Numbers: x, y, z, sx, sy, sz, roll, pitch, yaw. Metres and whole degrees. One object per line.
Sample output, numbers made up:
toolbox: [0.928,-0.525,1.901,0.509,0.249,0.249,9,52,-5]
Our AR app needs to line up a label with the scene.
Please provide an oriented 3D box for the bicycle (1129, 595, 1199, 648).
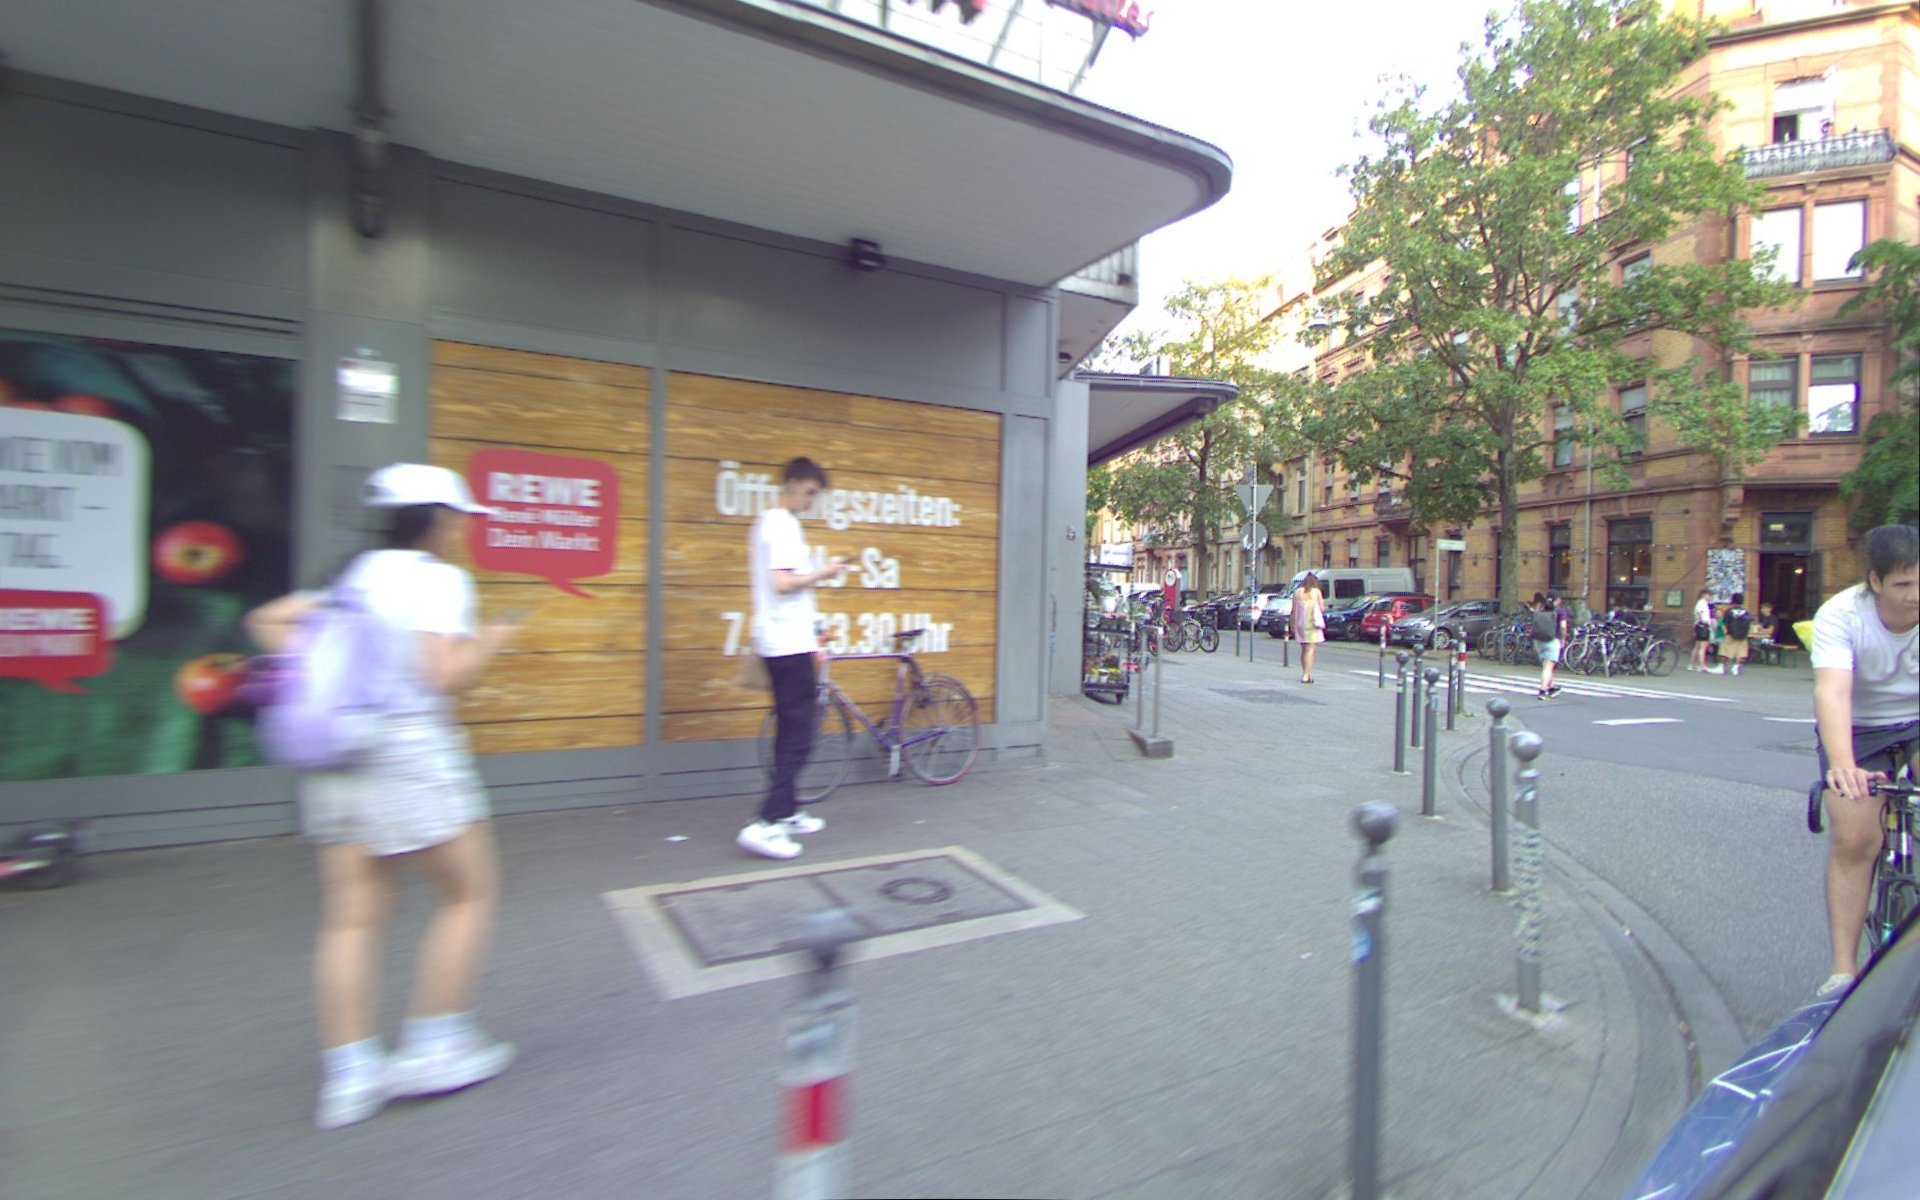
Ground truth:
bicycle: [4.658,0.480,23.248,0.558,1.095,1.787,2,2,-25]

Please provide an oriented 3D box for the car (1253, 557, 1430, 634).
car: [13.292,-0.177,35.415,5.377,2.487,2.124,-1,1,-8]

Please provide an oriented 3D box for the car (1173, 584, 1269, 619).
car: [12.140,0.041,47.174,3.893,1.556,1.855,0,1,-11]

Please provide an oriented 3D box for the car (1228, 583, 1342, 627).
car: [12.855,0.171,40.107,3.896,1.683,1.766,0,1,-5]

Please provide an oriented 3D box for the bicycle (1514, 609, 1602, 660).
bicycle: [13.632,0.772,23.066,1.845,1.091,0.714,-1,1,-20]

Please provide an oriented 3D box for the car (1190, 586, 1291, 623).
car: [12.369,0.167,44.709,3.893,1.556,1.855,0,1,-11]

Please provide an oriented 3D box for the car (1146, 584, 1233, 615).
car: [11.678,-0.044,51.602,3.893,1.556,1.855,0,1,-11]

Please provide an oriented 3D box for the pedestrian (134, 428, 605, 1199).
pedestrian: [-1.538,0.447,2.680,0.660,1.671,0.872,5,3,36]

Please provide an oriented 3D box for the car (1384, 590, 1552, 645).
car: [14.149,0.463,28.296,3.896,1.438,1.630,0,1,-5]

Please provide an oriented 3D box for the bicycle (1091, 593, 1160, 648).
bicycle: [3.661,0.431,22.558,0.558,1.095,1.787,2,2,-25]

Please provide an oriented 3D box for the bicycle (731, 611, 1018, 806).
bicycle: [-0.488,0.604,6.219,1.748,1.037,0.458,0,1,-32]

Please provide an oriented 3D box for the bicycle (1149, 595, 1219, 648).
bicycle: [5.186,0.487,23.518,0.558,1.095,1.787,2,2,-25]

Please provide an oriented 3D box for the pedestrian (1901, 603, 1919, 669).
pedestrian: [19.381,0.715,20.269,0.670,1.288,0.633,0,1,33]

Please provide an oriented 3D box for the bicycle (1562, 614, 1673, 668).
bicycle: [13.518,0.827,20.844,1.847,1.065,0.713,0,1,-3]

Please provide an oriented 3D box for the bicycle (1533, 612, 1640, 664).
bicycle: [13.345,0.801,21.580,1.847,1.071,0.713,0,1,-3]

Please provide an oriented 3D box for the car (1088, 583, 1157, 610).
car: [9.864,-0.230,61.503,3.789,1.556,1.737,0,1,-11]

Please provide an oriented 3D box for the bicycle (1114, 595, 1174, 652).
bicycle: [3.841,0.477,21.267,0.558,1.096,1.787,2,1,-12]

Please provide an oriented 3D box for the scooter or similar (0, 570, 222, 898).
scooter or similar: [-3.916,0.502,3.951,1.590,1.233,0.480,0,2,-23]

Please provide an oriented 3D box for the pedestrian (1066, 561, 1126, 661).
pedestrian: [2.458,0.180,18.364,0.842,1.737,0.770,3,1,-7]

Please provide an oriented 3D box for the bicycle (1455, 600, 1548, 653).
bicycle: [13.030,0.635,24.393,1.849,1.255,0.712,0,1,3]

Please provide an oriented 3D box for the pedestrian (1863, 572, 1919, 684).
pedestrian: [16.393,0.461,17.588,0.891,1.892,0.676,0,1,-16]

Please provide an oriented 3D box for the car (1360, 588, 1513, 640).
car: [14.444,0.404,30.781,3.896,1.521,1.630,0,1,-5]

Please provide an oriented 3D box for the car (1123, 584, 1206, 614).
car: [10.807,-0.081,53.694,3.893,1.556,1.855,0,1,-11]

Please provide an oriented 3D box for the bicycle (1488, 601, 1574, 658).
bicycle: [13.280,0.671,23.550,1.845,1.255,0.714,0,1,-20]

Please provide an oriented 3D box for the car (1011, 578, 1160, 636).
car: [3.596,0.143,28.480,4.376,1.506,1.789,-1,1,-43]

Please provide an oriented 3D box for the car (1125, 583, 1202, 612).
car: [11.291,-0.133,56.292,3.789,1.556,1.737,0,1,-11]

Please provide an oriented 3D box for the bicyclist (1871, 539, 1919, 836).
bicyclist: [5.639,0.478,5.583,0.789,1.591,0.816,1,-1,34]

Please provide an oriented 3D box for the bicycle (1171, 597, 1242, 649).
bicycle: [5.771,0.529,23.788,0.558,1.095,1.787,2,2,-25]

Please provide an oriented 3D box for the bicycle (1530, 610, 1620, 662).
bicycle: [13.654,0.782,22.476,1.845,1.091,0.714,-1,1,-20]

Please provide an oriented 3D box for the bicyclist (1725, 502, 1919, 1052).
bicyclist: [3.009,0.485,3.162,0.934,1.527,0.651,0,1,-28]

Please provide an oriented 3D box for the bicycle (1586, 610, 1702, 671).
bicycle: [13.592,0.797,20.135,1.847,1.169,0.713,0,1,-3]

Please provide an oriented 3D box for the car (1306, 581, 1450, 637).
car: [13.511,0.258,32.835,3.896,1.683,1.766,-1,1,-5]

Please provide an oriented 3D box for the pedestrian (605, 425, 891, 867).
pedestrian: [-1.069,0.189,5.042,1.166,1.935,0.764,1,3,-30]

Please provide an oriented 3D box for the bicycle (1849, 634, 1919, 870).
bicycle: [5.630,0.796,5.576,0.789,1.154,2.314,1,0,34]

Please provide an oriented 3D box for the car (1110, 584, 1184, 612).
car: [10.771,-0.140,58.394,3.789,1.556,1.737,0,1,-11]

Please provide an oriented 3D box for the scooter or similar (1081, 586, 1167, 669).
scooter or similar: [2.561,0.433,15.835,1.206,1.248,0.416,2,0,-15]

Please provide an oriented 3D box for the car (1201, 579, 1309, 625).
car: [12.230,0.056,42.080,3.896,1.847,1.853,0,1,-5]

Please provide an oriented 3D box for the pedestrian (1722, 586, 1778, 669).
pedestrian: [16.049,0.551,20.573,0.629,1.658,0.674,0,1,6]

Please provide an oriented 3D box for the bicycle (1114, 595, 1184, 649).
bicycle: [4.236,0.477,22.781,0.558,1.095,1.787,2,2,-25]

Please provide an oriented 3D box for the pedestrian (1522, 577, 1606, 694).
pedestrian: [8.654,0.499,14.512,0.850,1.627,0.540,2,1,-19]

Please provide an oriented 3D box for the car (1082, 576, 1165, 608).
car: [10.419,-0.530,64.490,4.749,2.037,2.207,0,1,-9]

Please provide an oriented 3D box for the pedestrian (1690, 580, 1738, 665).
pedestrian: [15.877,0.457,21.314,0.629,1.767,0.674,-1,1,-39]

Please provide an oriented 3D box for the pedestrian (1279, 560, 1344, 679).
pedestrian: [5.468,0.293,15.739,0.690,1.767,0.703,3,1,37]

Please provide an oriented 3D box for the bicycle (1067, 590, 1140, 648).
bicycle: [3.105,0.400,22.072,0.669,1.125,1.787,2,2,-26]

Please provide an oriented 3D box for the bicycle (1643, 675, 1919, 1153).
bicycle: [3.037,0.823,3.191,1.879,1.031,0.659,-1,1,-28]
